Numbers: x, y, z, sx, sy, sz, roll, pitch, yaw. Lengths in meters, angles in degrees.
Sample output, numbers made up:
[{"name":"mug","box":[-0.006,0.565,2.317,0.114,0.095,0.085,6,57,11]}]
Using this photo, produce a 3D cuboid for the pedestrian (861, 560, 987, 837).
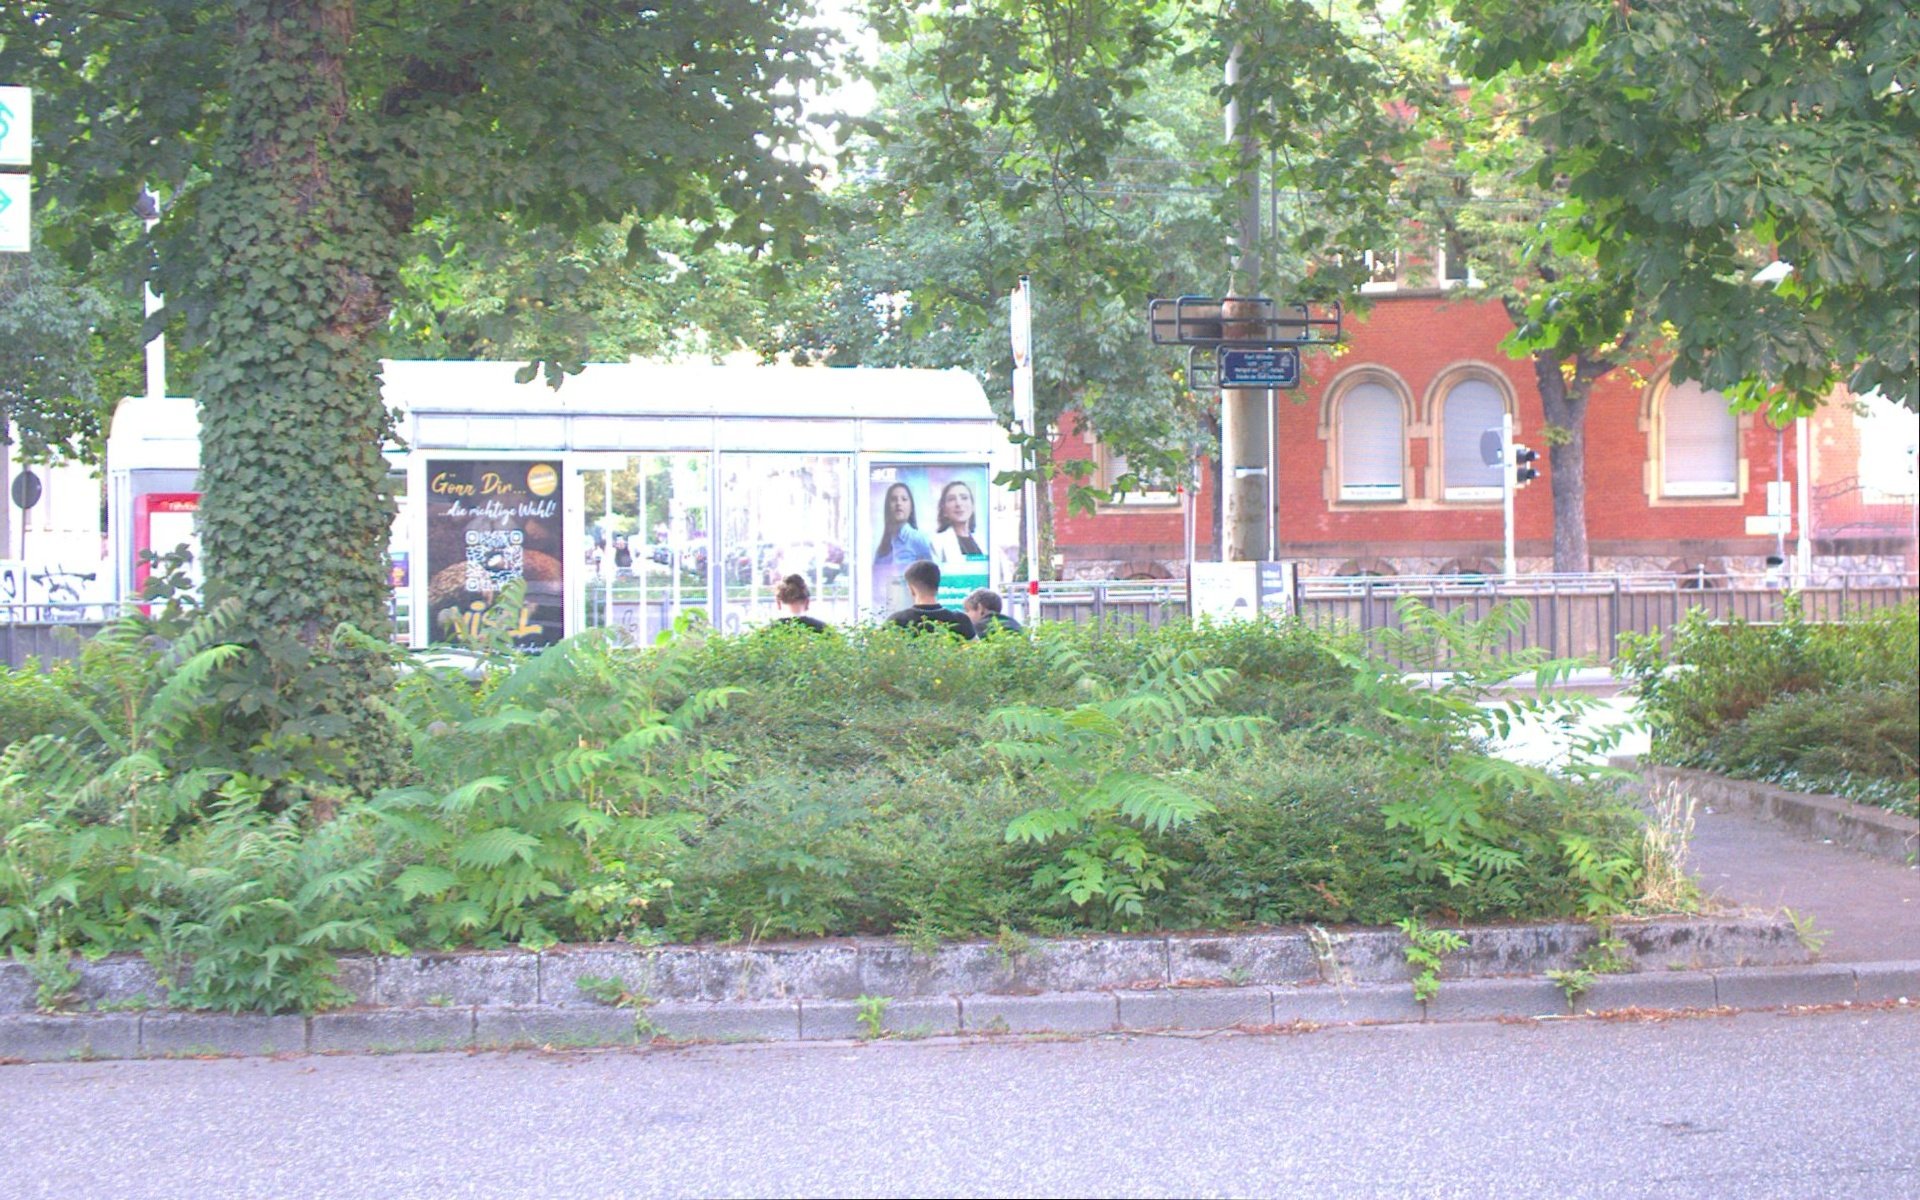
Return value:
[{"name":"pedestrian","box":[-0.197,0.510,18.229,0.616,1.426,0.655,0,1,-4]}]

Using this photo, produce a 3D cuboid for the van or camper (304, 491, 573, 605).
[{"name":"van or camper","box":[-14.767,-1.466,97.325,7.363,3.072,2.674,1,1,-10]}]

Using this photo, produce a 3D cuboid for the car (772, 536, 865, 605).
[{"name":"car","box":[-3.654,-0.775,87.948,1.993,1.698,4.721,1,1,-7]}]

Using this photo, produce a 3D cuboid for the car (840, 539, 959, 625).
[{"name":"car","box":[-1.299,-0.395,71.767,1.993,1.698,4.721,1,1,-7]}]

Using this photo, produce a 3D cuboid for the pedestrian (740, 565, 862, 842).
[{"name":"pedestrian","box":[-0.848,0.533,18.190,0.616,1.426,0.655,0,1,-4]}]

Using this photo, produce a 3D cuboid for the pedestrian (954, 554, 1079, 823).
[{"name":"pedestrian","box":[0.305,0.466,18.710,0.616,1.426,0.655,0,1,-4]}]

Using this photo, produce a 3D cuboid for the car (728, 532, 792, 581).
[{"name":"car","box":[-7.186,-1.576,123.367,1.993,1.698,4.721,1,1,-7]}]
